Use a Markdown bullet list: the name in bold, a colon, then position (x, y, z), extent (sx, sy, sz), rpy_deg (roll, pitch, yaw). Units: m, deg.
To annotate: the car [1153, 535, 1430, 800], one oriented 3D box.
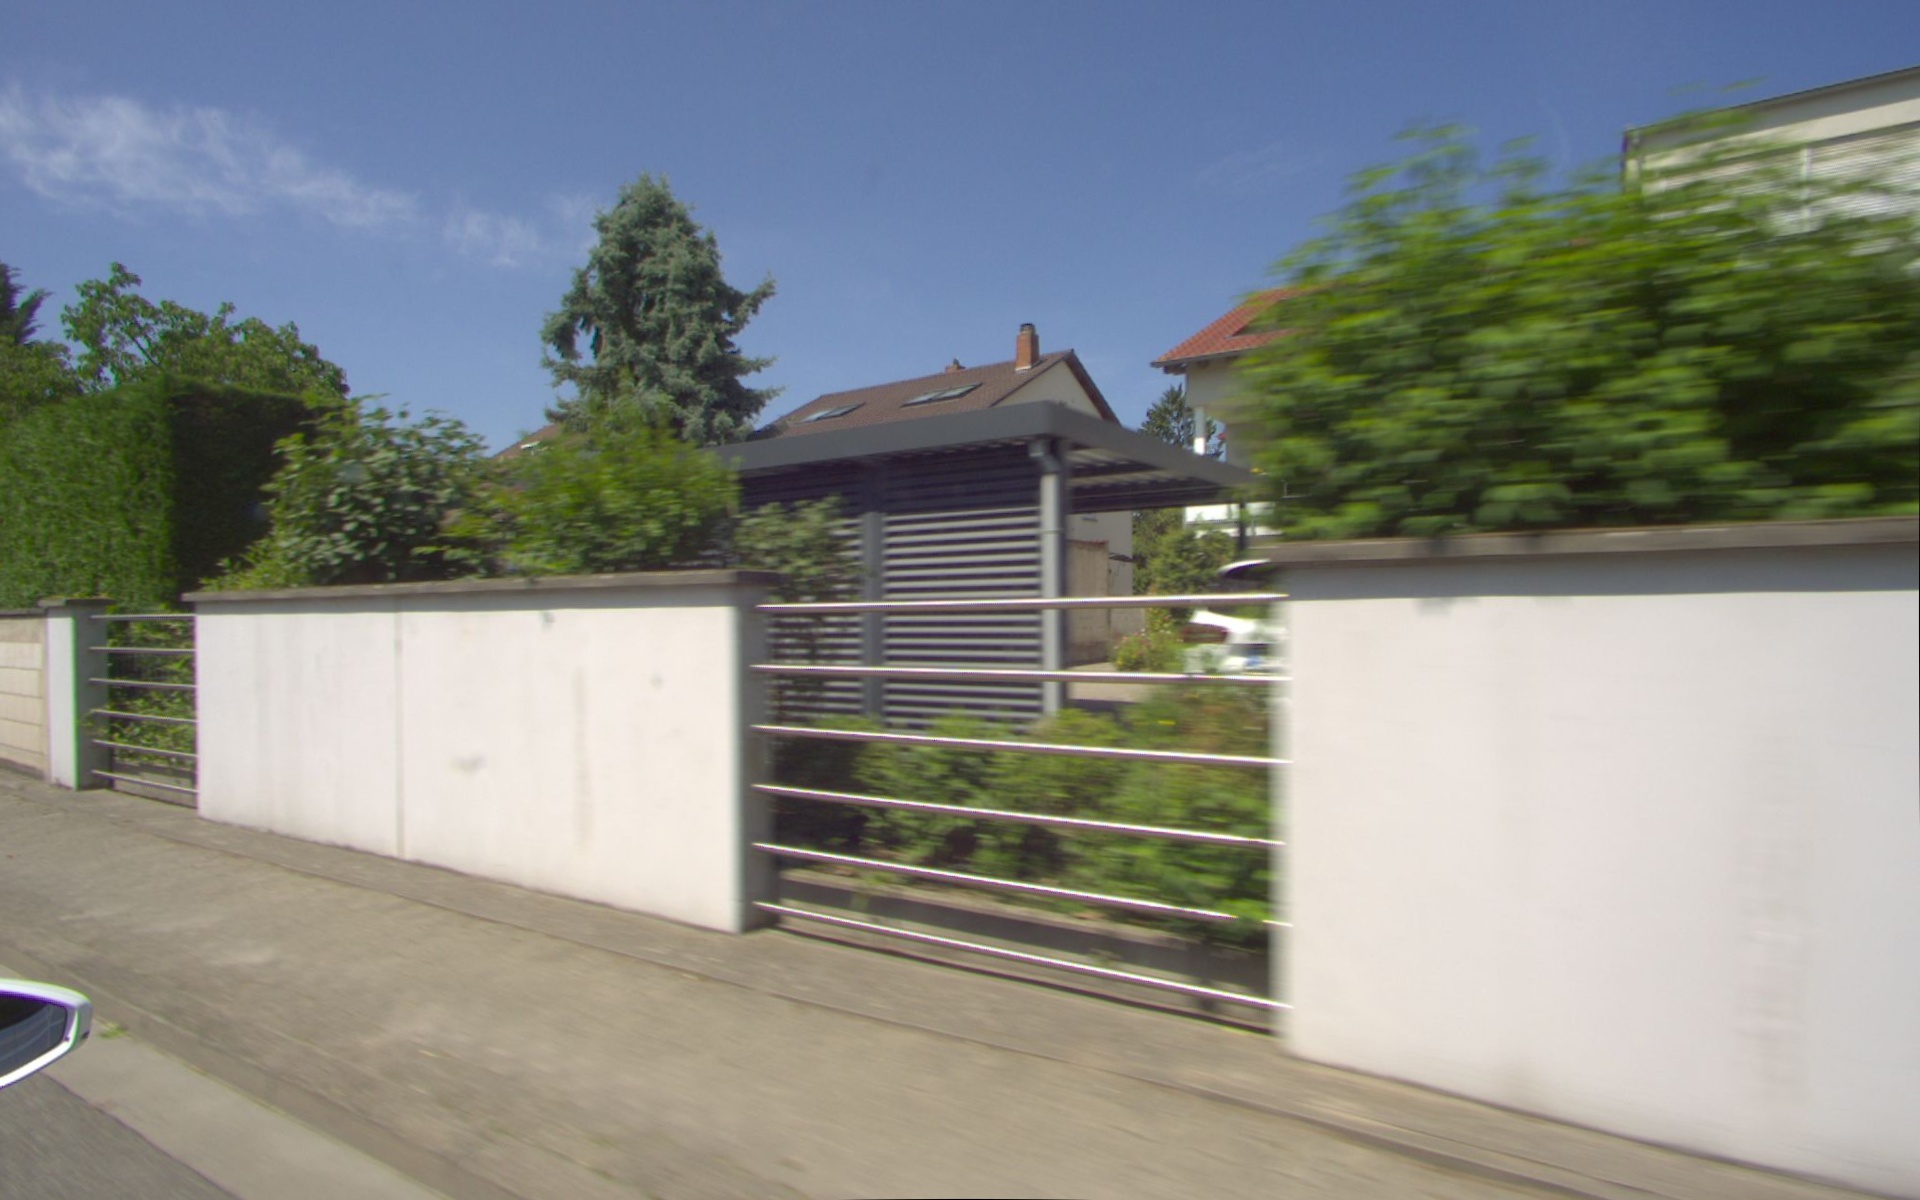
- **car**: position (2.415, 0.410, 6.969), extent (1.263, 1.459, 2.617), rpy_deg (-1, -1, 32)
